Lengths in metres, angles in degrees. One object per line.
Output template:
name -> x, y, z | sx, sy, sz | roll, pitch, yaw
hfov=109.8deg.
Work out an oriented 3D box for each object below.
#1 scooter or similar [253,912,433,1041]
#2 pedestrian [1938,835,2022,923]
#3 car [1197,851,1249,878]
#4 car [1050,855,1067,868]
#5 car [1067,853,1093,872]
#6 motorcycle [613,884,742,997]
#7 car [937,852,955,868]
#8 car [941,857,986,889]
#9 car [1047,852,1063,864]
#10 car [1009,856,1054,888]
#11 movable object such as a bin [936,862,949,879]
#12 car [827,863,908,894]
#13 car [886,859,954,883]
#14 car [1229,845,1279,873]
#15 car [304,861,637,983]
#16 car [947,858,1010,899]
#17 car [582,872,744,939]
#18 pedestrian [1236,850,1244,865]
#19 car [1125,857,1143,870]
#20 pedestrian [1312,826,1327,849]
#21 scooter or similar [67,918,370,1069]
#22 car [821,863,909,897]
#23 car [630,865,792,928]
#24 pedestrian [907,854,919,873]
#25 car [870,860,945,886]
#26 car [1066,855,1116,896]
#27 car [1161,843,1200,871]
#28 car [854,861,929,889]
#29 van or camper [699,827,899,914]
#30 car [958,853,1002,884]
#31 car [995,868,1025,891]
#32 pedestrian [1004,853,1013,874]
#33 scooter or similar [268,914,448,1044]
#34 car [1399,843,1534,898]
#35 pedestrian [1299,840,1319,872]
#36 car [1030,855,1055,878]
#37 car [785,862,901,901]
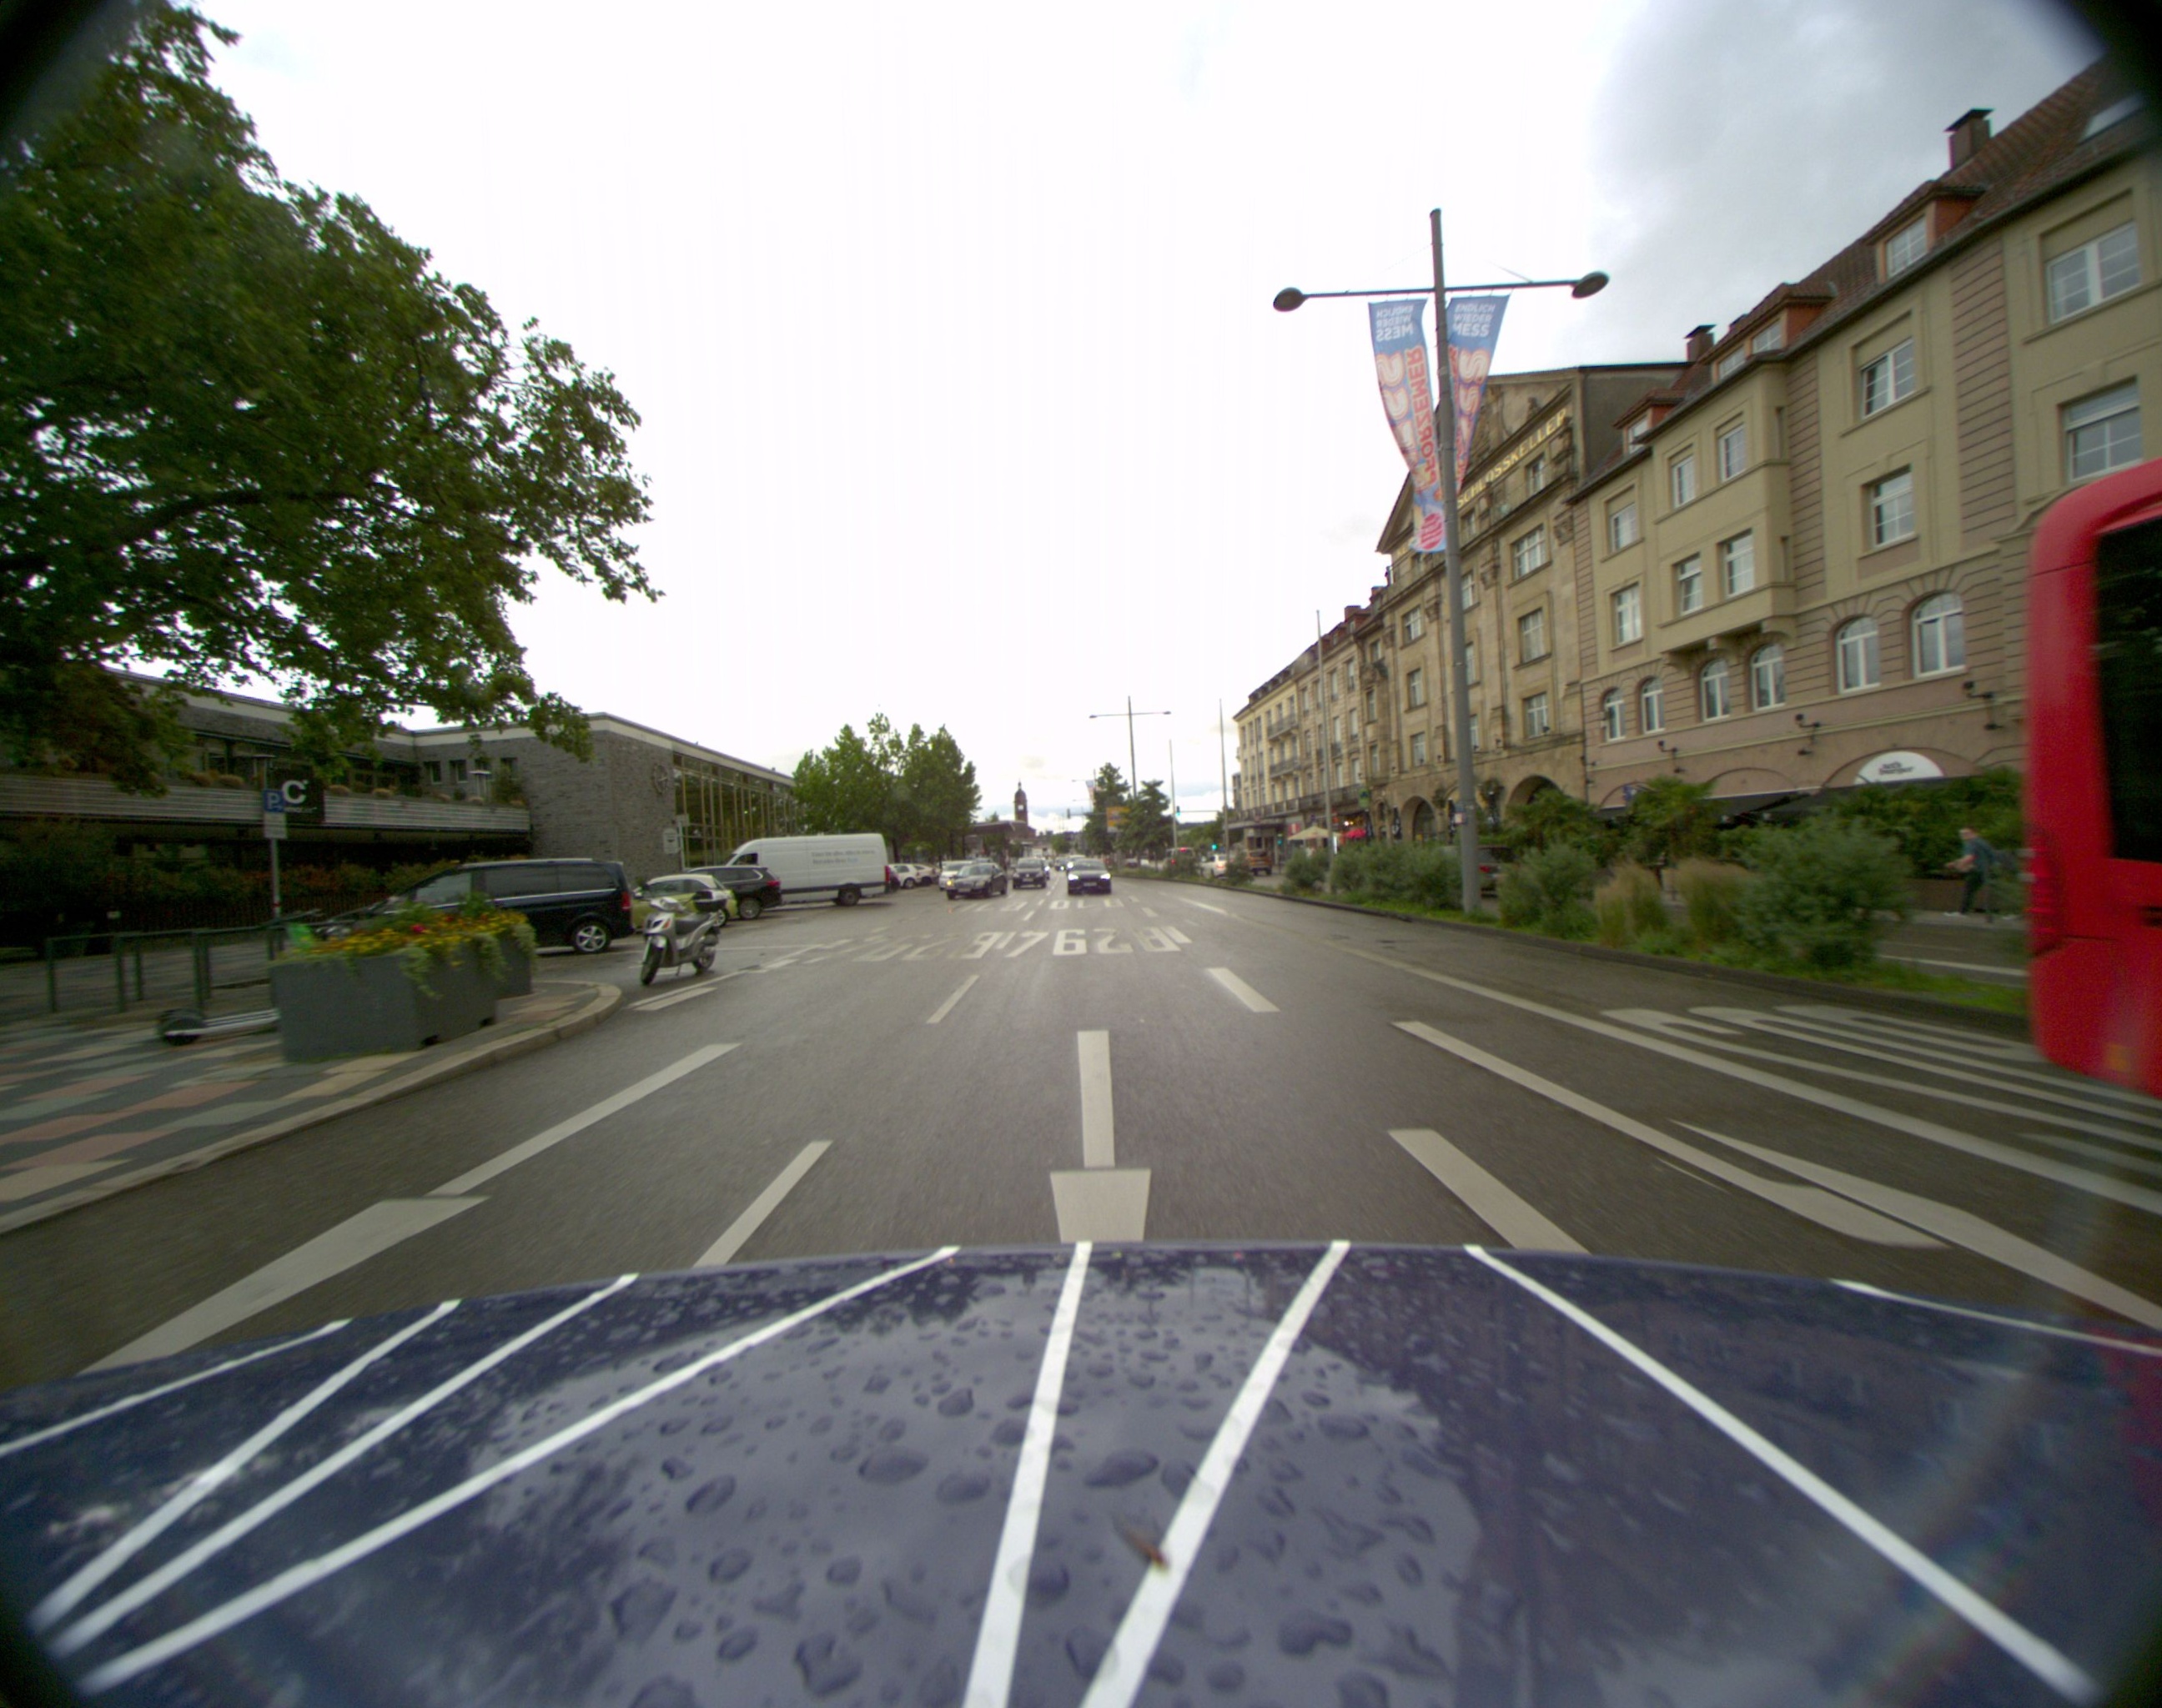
scooter or similar -> -7.963, 1.282, 8.249 | 0.413, 1.148, 1.265 | -4, 1, 31
pedestrian -> 16.147, 0.439, 13.660 | 0.692, 1.520, 0.727 | -1, 1, -12
car -> 8.104, 0.559, 43.758 | 1.795, 1.398, 4.983 | -2, 0, -3
car -> -2.656, 0.849, 90.359 | 1.984, 1.438, 3.907 | -1, 1, -1
car -> -0.042, 0.689, 61.400 | 1.983, 1.438, 3.908 | -1, 1, 1
motorcycle -> -5.679, 1.163, 10.865 | 0.645, 1.344, 2.109 | -2, 0, 1
car -> -15.103, 0.710, 84.931 | 1.821, 1.546, 4.461 | -8, 1, -10
car -> -6.078, 0.950, 39.552 | 1.661, 1.466, 3.589 | -2, 0, 1
car -> -3.704, 0.590, 108.833 | 2.055, 1.581, 4.075 | -2, 0, -4
car -> -2.497, 0.905, 39.080 | 1.871, 1.466, 3.826 | -2, 0, 2
movable object such as a bin -> -9.675, 1.131, 53.121 | 0.691, 1.101, 0.548 | -6, 2, -15
car -> -10.950, 1.206, 38.934 | 3.625, 1.391, 1.775 | -2, 1, -29
car -> -10.299, 1.068, 48.509 | 3.935, 1.391, 1.776 | -2, 1, -22
car -> 11.011, 0.311, 48.662 | 1.999, 1.670, 4.100 | -2, 0, -4
car -> -11.400, 1.161, 14.731 | 4.707, 1.864, 2.104 | -2, 1, -32
car -> -4.146, 0.955, 31.303 | 1.871, 1.466, 3.826 | -2, 0, 2
car -> -11.040, 1.304, 20.291 | 3.595, 1.515, 1.759 | -2, 0, -26
pedestrian -> 16.586, 0.377, 79.154 | 0.643, 1.480, 0.747 | -3, 0, 17
car -> 6.853, 1.228, 99.421 | 1.847, 1.455, 5.029 | -2, 0, -2
pedestrian -> 17.806, -1.232, 56.704 | 0.765, 1.661, 0.678 | -2, 2, -7
scooter or similar -> -8.573, 1.332, 7.700 | 1.067, 1.149, 1.667 | -3, 1, 0
car -> -10.331, 1.202, 36.348 | 3.695, 1.391, 1.775 | -2, 1, -29
car -> -11.235, 1.230, 23.204 | 4.243, 1.625, 1.880 | -2, 1, -29
pedestrian -> -15.958, 0.876, 72.022 | 0.823, 1.747, 0.913 | -2, 1, 4
car -> -10.261, 1.098, 44.884 | 3.937, 1.391, 1.775 | -2, 1, -29
car -> 0.443, 0.829, 30.734 | 1.871, 1.466, 3.826 | -2, 0, 2
car -> 7.605, 0.219, 58.491 | 1.926, 1.962, 4.853 | -2, 0, -4
car -> -10.452, 1.141, 41.914 | 3.625, 1.391, 1.775 | -2, 1, -29
van or camper -> -10.291, 0.505, 27.987 | 6.540, 2.853, 2.275 | -2, 1, -30
car -> -5.949, 0.812, 45.202 | 1.824, 1.673, 4.417 | -2, 0, 2
car -> -5.085, 1.808, 54.551 | 1.661, 1.466, 3.589 | -2, 0, 1
pedestrian -> -6.053, 0.809, 63.554 | 0.560, 1.741, 0.700 | -1, 1, 4
scooter or similar -> -7.589, 1.269, 8.030 | 0.413, 1.148, 1.265 | -4, 0, 31
car -> 12.415, 0.480, 24.859 | 1.795, 1.569, 4.738 | -2, 0, -3
pedestrian -> 14.021, 0.125, 46.736 | 0.678, 1.898, 0.765 | 9, -2, -2
car -> -2.640, 0.829, 52.919 | 1.620, 1.477, 3.669 | -2, 0, -2
car -> -10.433, 1.153, 33.368 | 4.477, 1.462, 1.915 | -2, 1, -30
